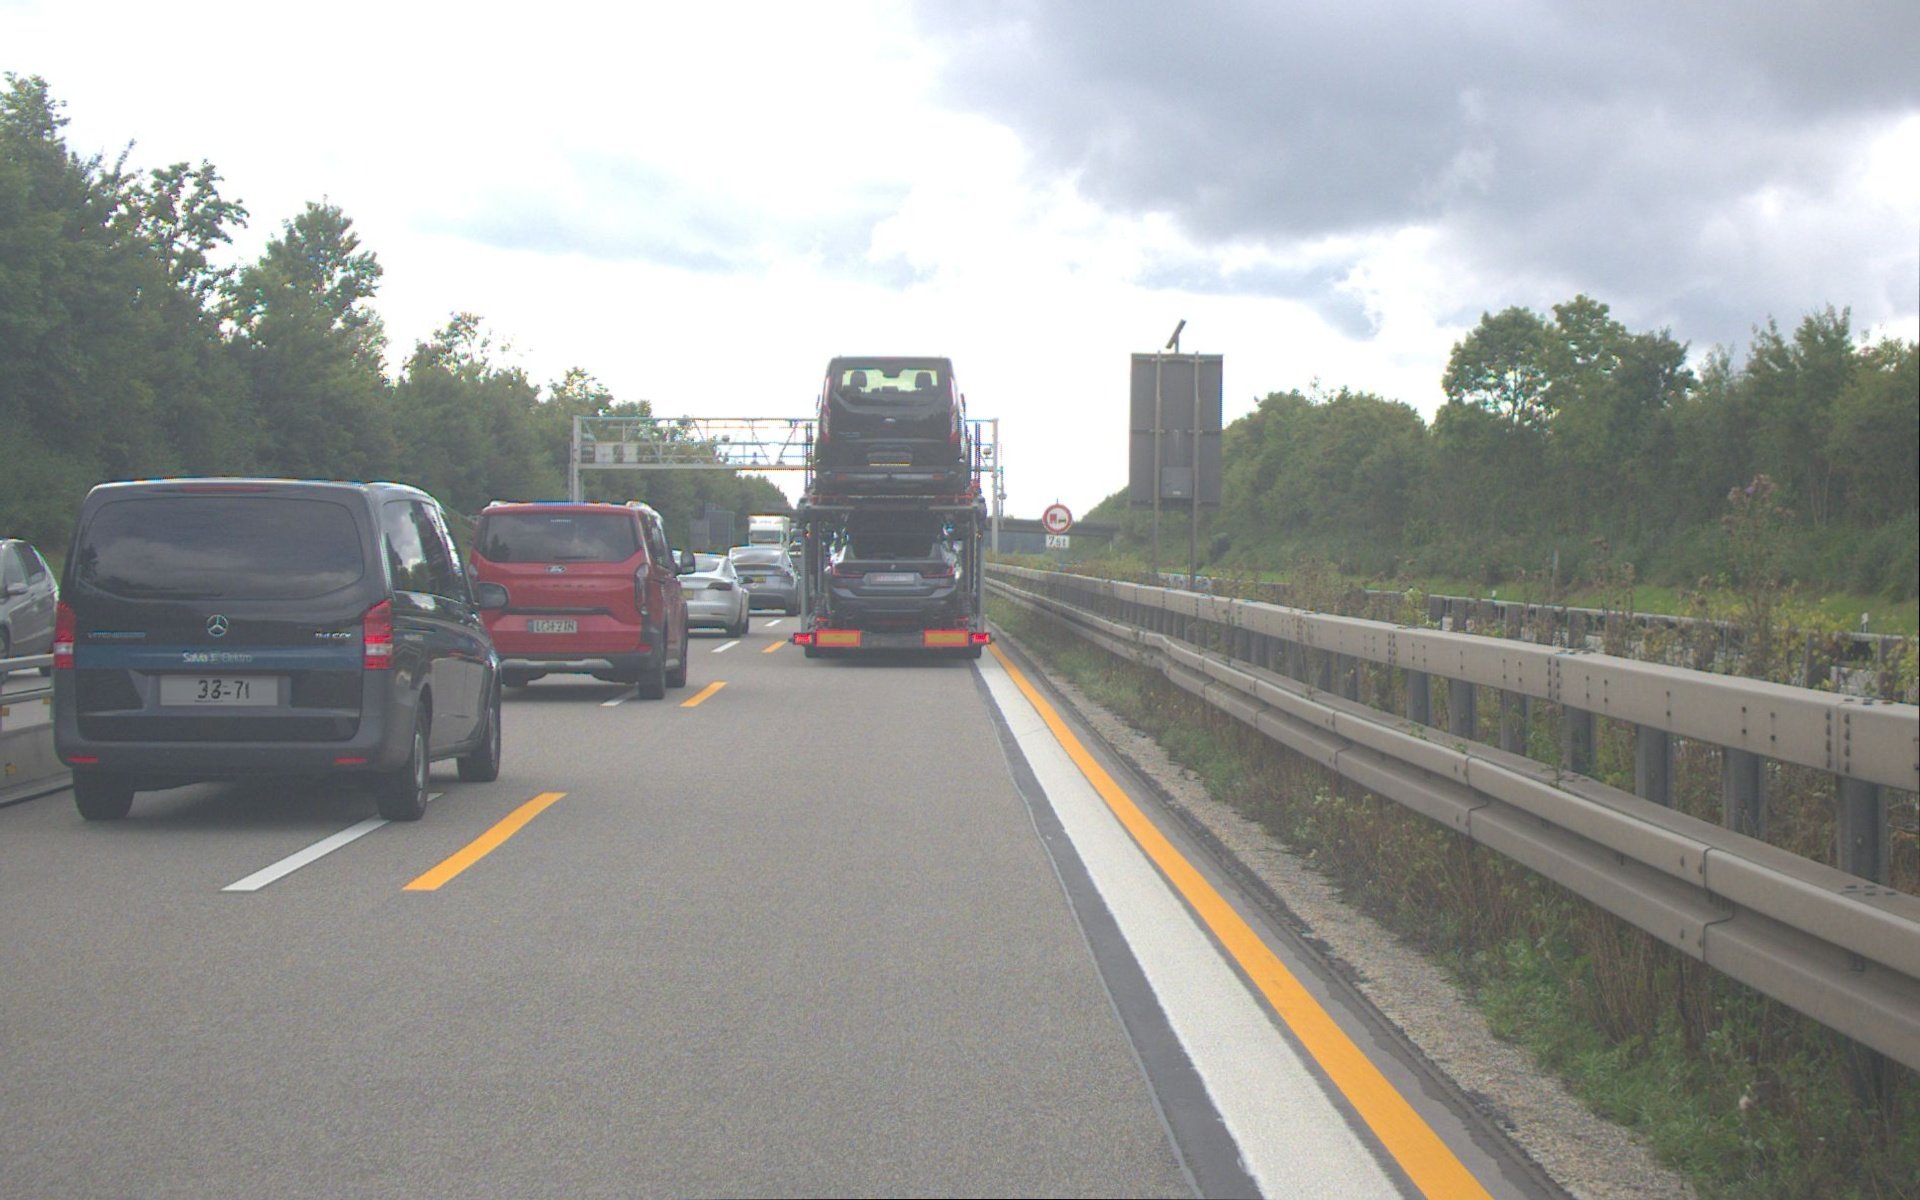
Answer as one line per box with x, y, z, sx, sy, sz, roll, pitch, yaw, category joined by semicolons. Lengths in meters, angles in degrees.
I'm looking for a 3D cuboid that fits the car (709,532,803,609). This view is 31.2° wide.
-4.734;-0.712;80.267;2.031;1.751;4.578;0;1;-1;car

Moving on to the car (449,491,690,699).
-3.953;-0.084;35.530;2.031;2.007;4.578;0;1;-1;car

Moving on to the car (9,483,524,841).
-3.923;0.275;20.495;1.993;1.837;5.610;0;1;-1;car

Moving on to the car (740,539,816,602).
-5.142;-0.847;97.538;2.031;1.751;4.578;0;1;-2;car

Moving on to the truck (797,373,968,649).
-1.164;-1.369;53.996;2.515;4.091;5.685;0;1;0;truck

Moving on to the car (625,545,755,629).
-4.687;-0.260;60.339;2.031;1.426;4.578;0;1;-1;car

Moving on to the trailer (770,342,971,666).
-1.150;-1.299;49.240;2.515;4.091;11.114;0;1;0;trailer

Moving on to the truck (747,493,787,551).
-13.910;-5.637;248.203;2.598;4.140;5.621;1;1;-1;truck

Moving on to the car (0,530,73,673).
-11.183;0.003;38.209;1.681;1.545;3.950;-1;1;-1;car
